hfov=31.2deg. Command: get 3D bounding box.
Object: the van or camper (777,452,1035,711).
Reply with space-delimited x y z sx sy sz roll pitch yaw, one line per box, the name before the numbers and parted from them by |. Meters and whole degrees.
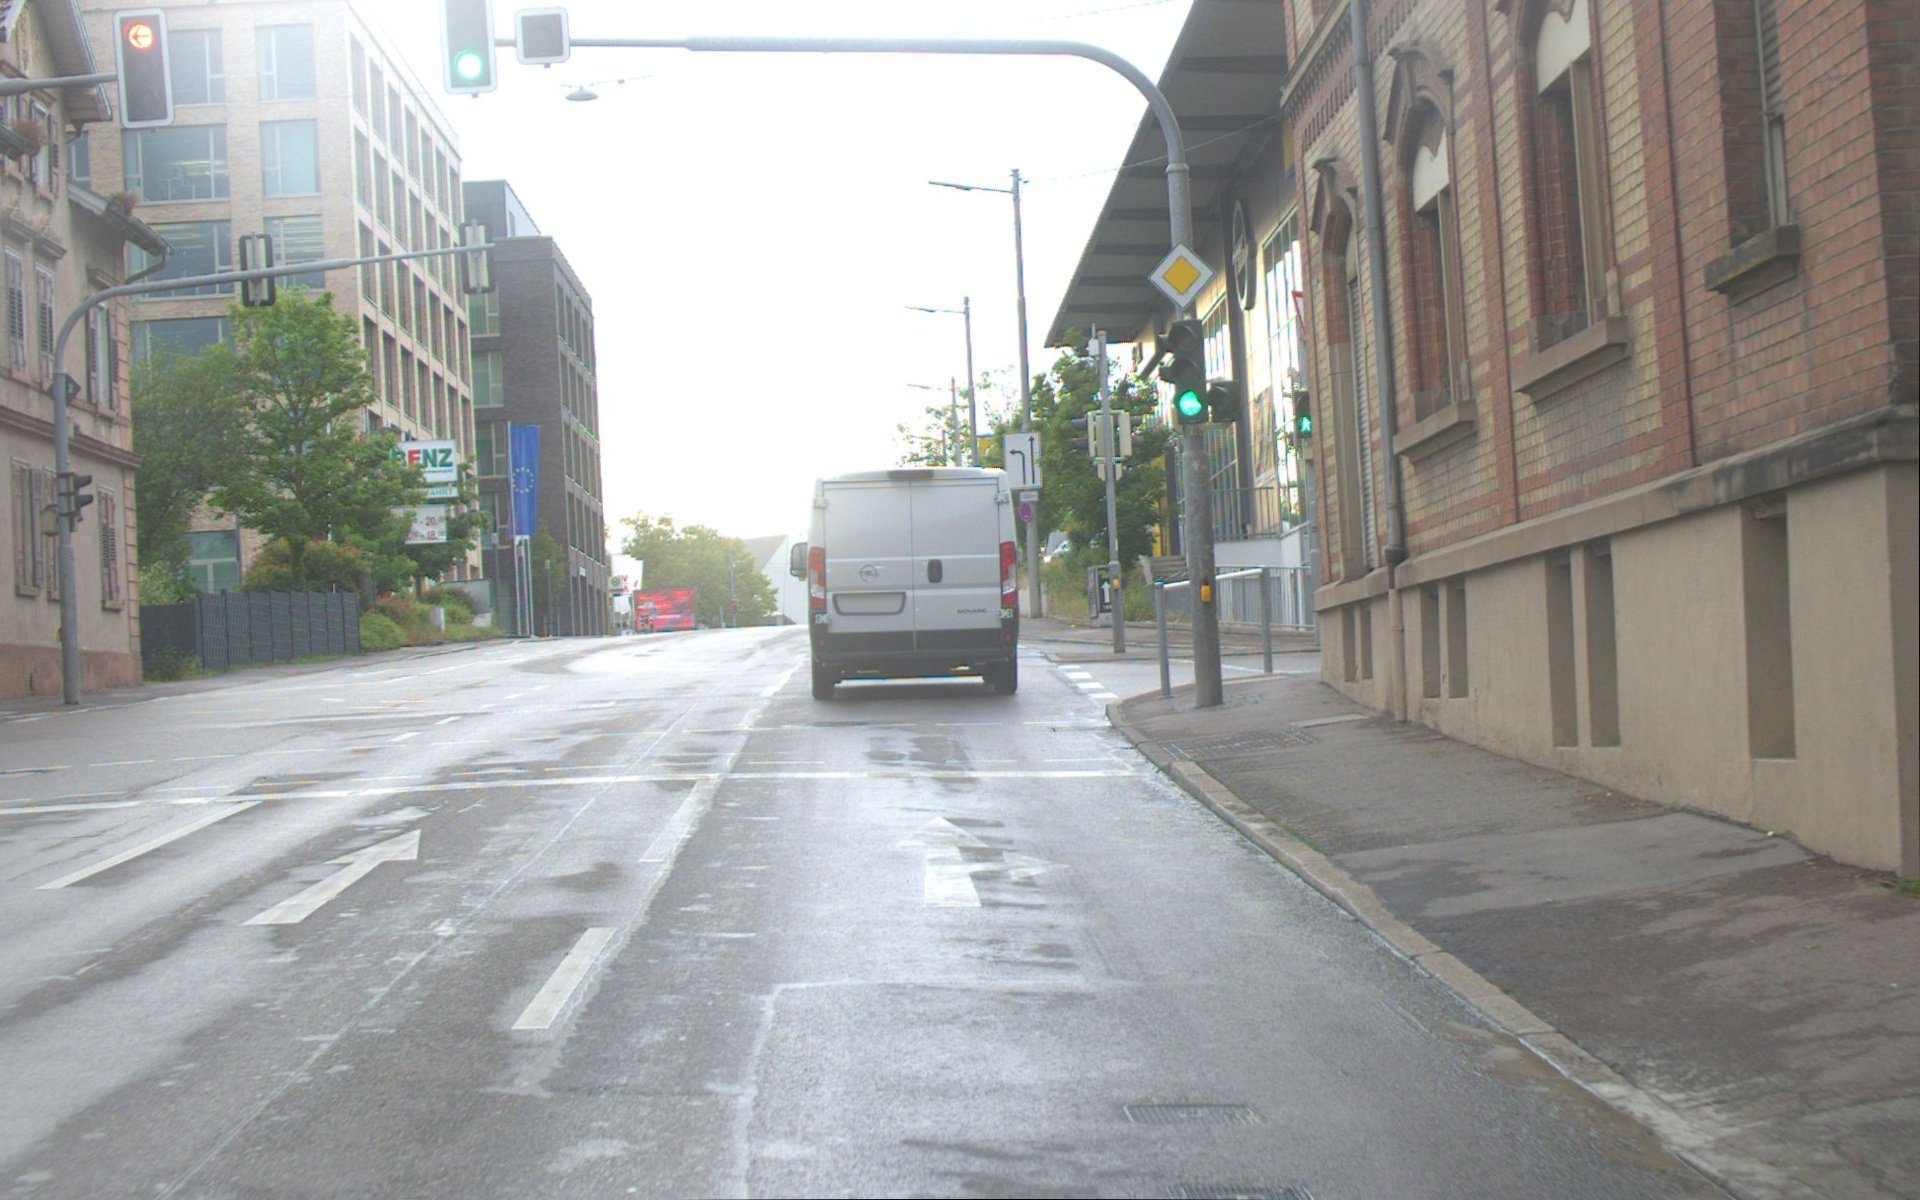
van or camper | -0.540 -0.166 35.069 2.340 2.349 5.199 -2 0 -1
